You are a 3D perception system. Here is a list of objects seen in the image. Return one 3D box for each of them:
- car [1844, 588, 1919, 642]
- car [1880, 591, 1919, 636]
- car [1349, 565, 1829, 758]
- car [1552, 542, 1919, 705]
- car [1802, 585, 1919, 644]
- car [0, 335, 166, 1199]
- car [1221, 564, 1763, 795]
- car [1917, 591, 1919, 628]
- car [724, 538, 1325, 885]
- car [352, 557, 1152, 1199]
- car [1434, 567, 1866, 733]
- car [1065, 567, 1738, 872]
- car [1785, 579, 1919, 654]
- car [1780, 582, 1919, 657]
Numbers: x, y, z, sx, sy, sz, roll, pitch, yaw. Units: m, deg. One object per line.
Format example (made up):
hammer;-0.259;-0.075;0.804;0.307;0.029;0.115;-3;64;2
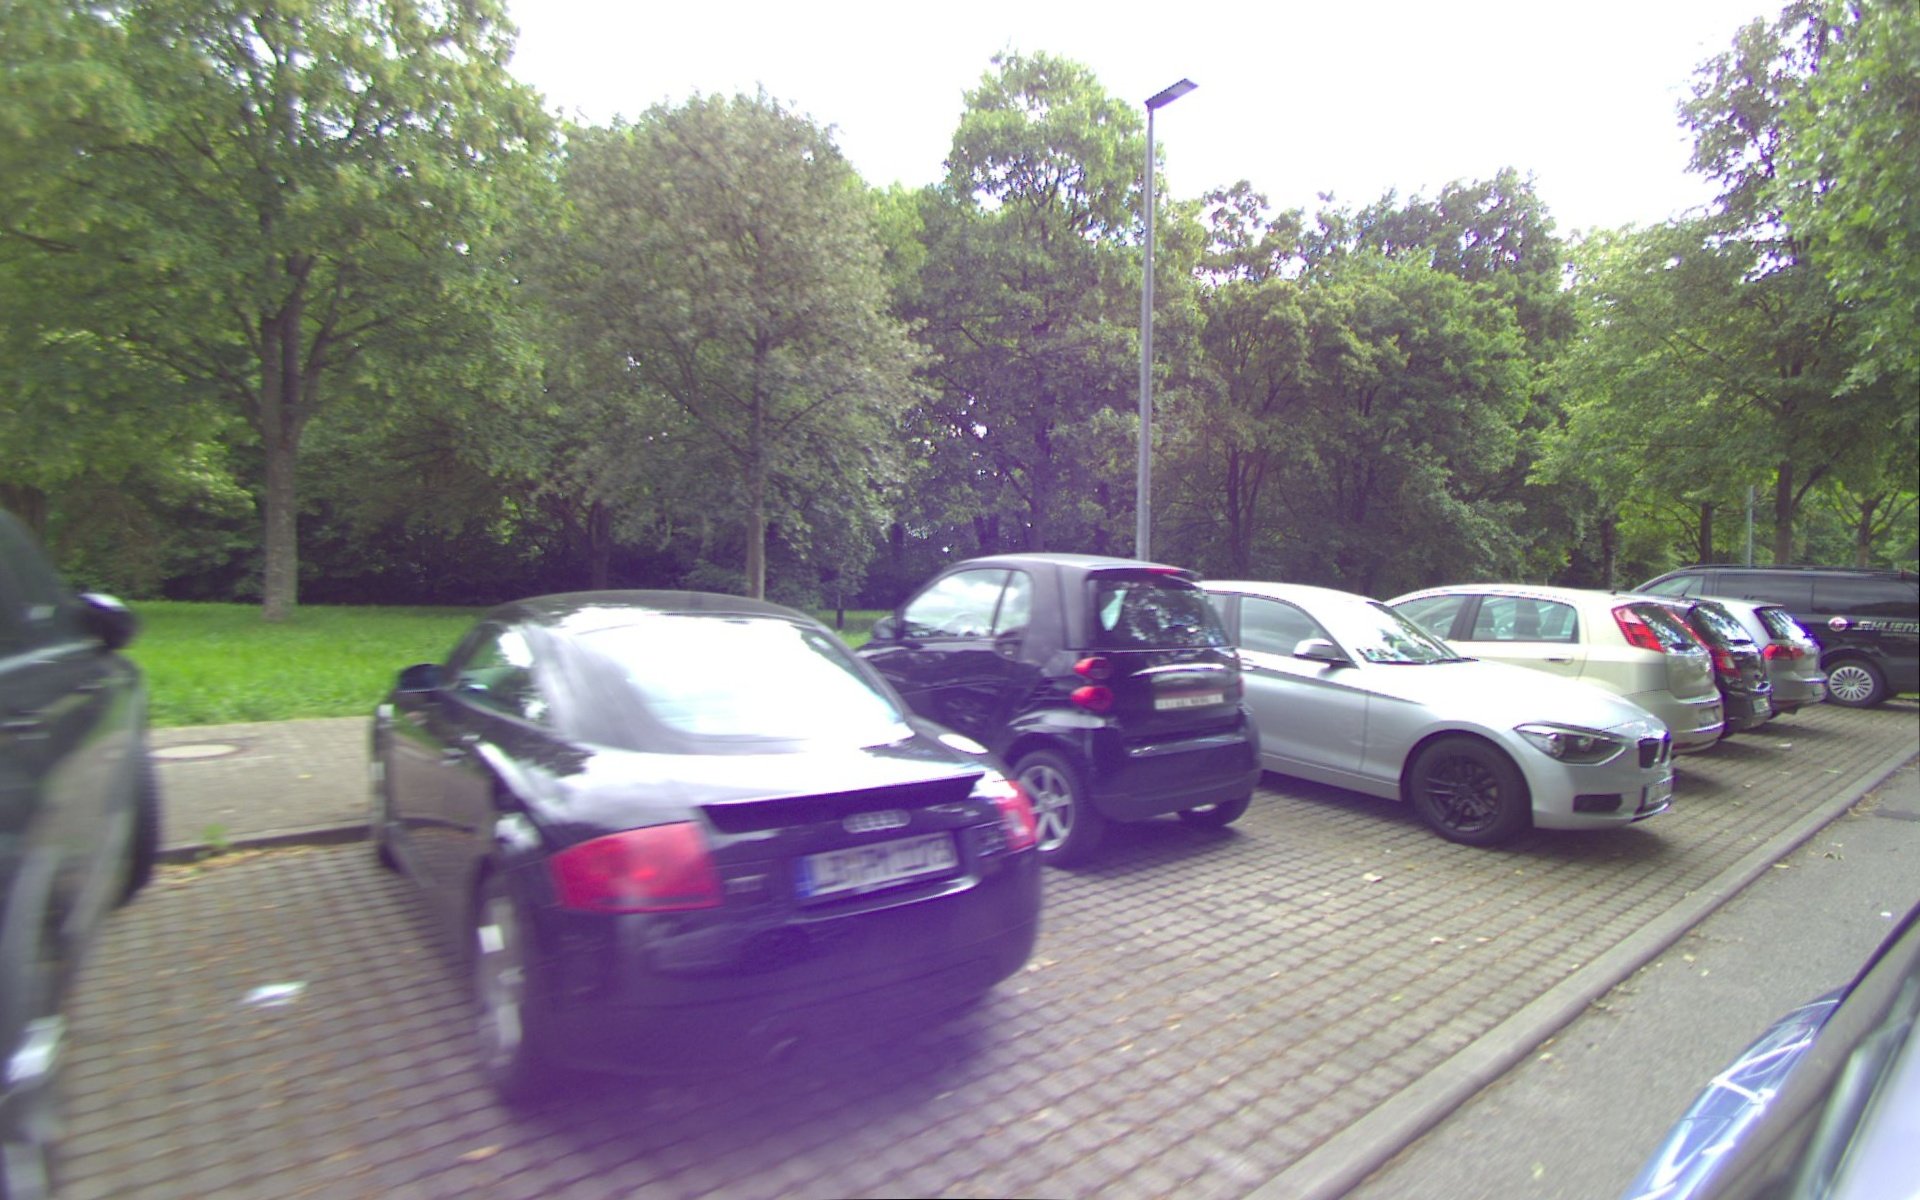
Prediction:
car;29.599;0.491;30.638;1.820;1.536;4.077;0;3;-44
car;33.448;0.533;33.580;1.818;1.474;4.083;0;3;-39
car;6.495;0.486;10.858;1.731;1.529;3.973;1;3;-38
car;12.197;0.228;15.435;2.126;2.038;4.968;1;3;-39
car;27.347;0.447;28.981;1.946;1.536;4.650;1;2;-38
car;-3.205;0.400;2.391;1.943;1.670;4.138;0;3;-36
car;4.608;0.499;9.280;1.778;1.546;3.997;0;3;-39
car;41.550;0.491;40.920;1.846;1.534;3.852;0;3;-37
car;0.154;0.415;6.681;1.787;1.577;3.841;0;3;-40
car;-1.268;0.560;4.169;1.788;1.375;3.845;0;3;-36
car;8.218;0.463;12.376;1.761;1.529;3.972;1;3;-39
car;2.867;0.547;7.284;1.901;1.447;3.996;-1;3;-40
car;23.717;0.441;25.330;2.045;1.696;4.425;1;2;-40
car;21.737;0.454;23.878;1.764;1.594;3.387;1;2;-40
